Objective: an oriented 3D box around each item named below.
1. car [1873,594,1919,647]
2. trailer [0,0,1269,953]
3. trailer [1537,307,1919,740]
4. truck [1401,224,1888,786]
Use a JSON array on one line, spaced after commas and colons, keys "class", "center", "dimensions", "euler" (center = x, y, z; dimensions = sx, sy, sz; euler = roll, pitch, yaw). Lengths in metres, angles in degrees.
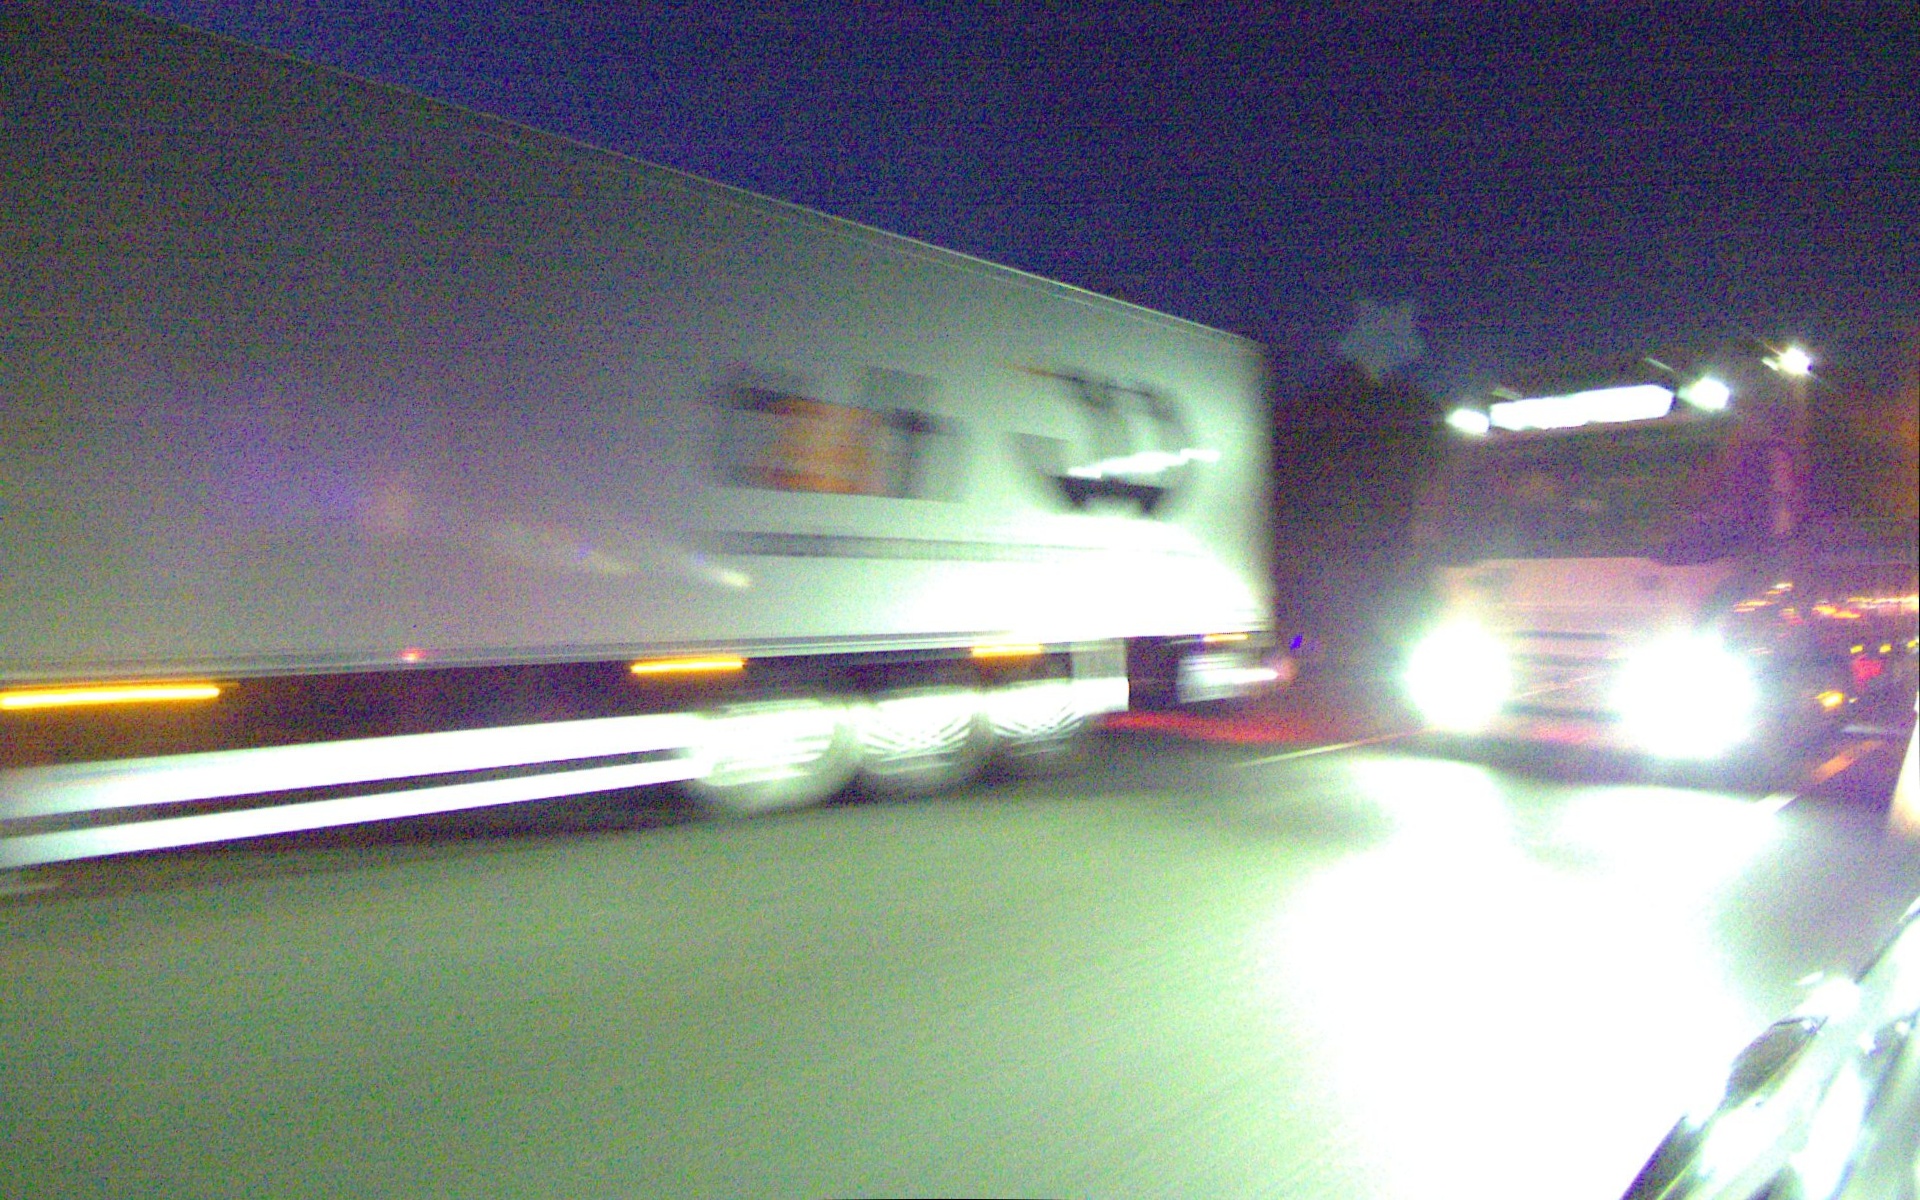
[{"class": "car", "center": [28.433, 0.564, 29.885], "dimensions": [4.176, 1.485, 1.823], "euler": [0, 0, -43]}, {"class": "trailer", "center": [-1.520, -0.671, 7.750], "dimensions": [9.833, 4.124, 2.595], "euler": [0, 0, -41]}, {"class": "trailer", "center": [12.797, -0.780, 15.349], "dimensions": [13.273, 4.260, 2.747], "euler": [0, 0, -41]}, {"class": "truck", "center": [7.610, -0.736, 10.850], "dimensions": [6.605, 4.260, 2.666], "euler": [0, -1, -41]}]
